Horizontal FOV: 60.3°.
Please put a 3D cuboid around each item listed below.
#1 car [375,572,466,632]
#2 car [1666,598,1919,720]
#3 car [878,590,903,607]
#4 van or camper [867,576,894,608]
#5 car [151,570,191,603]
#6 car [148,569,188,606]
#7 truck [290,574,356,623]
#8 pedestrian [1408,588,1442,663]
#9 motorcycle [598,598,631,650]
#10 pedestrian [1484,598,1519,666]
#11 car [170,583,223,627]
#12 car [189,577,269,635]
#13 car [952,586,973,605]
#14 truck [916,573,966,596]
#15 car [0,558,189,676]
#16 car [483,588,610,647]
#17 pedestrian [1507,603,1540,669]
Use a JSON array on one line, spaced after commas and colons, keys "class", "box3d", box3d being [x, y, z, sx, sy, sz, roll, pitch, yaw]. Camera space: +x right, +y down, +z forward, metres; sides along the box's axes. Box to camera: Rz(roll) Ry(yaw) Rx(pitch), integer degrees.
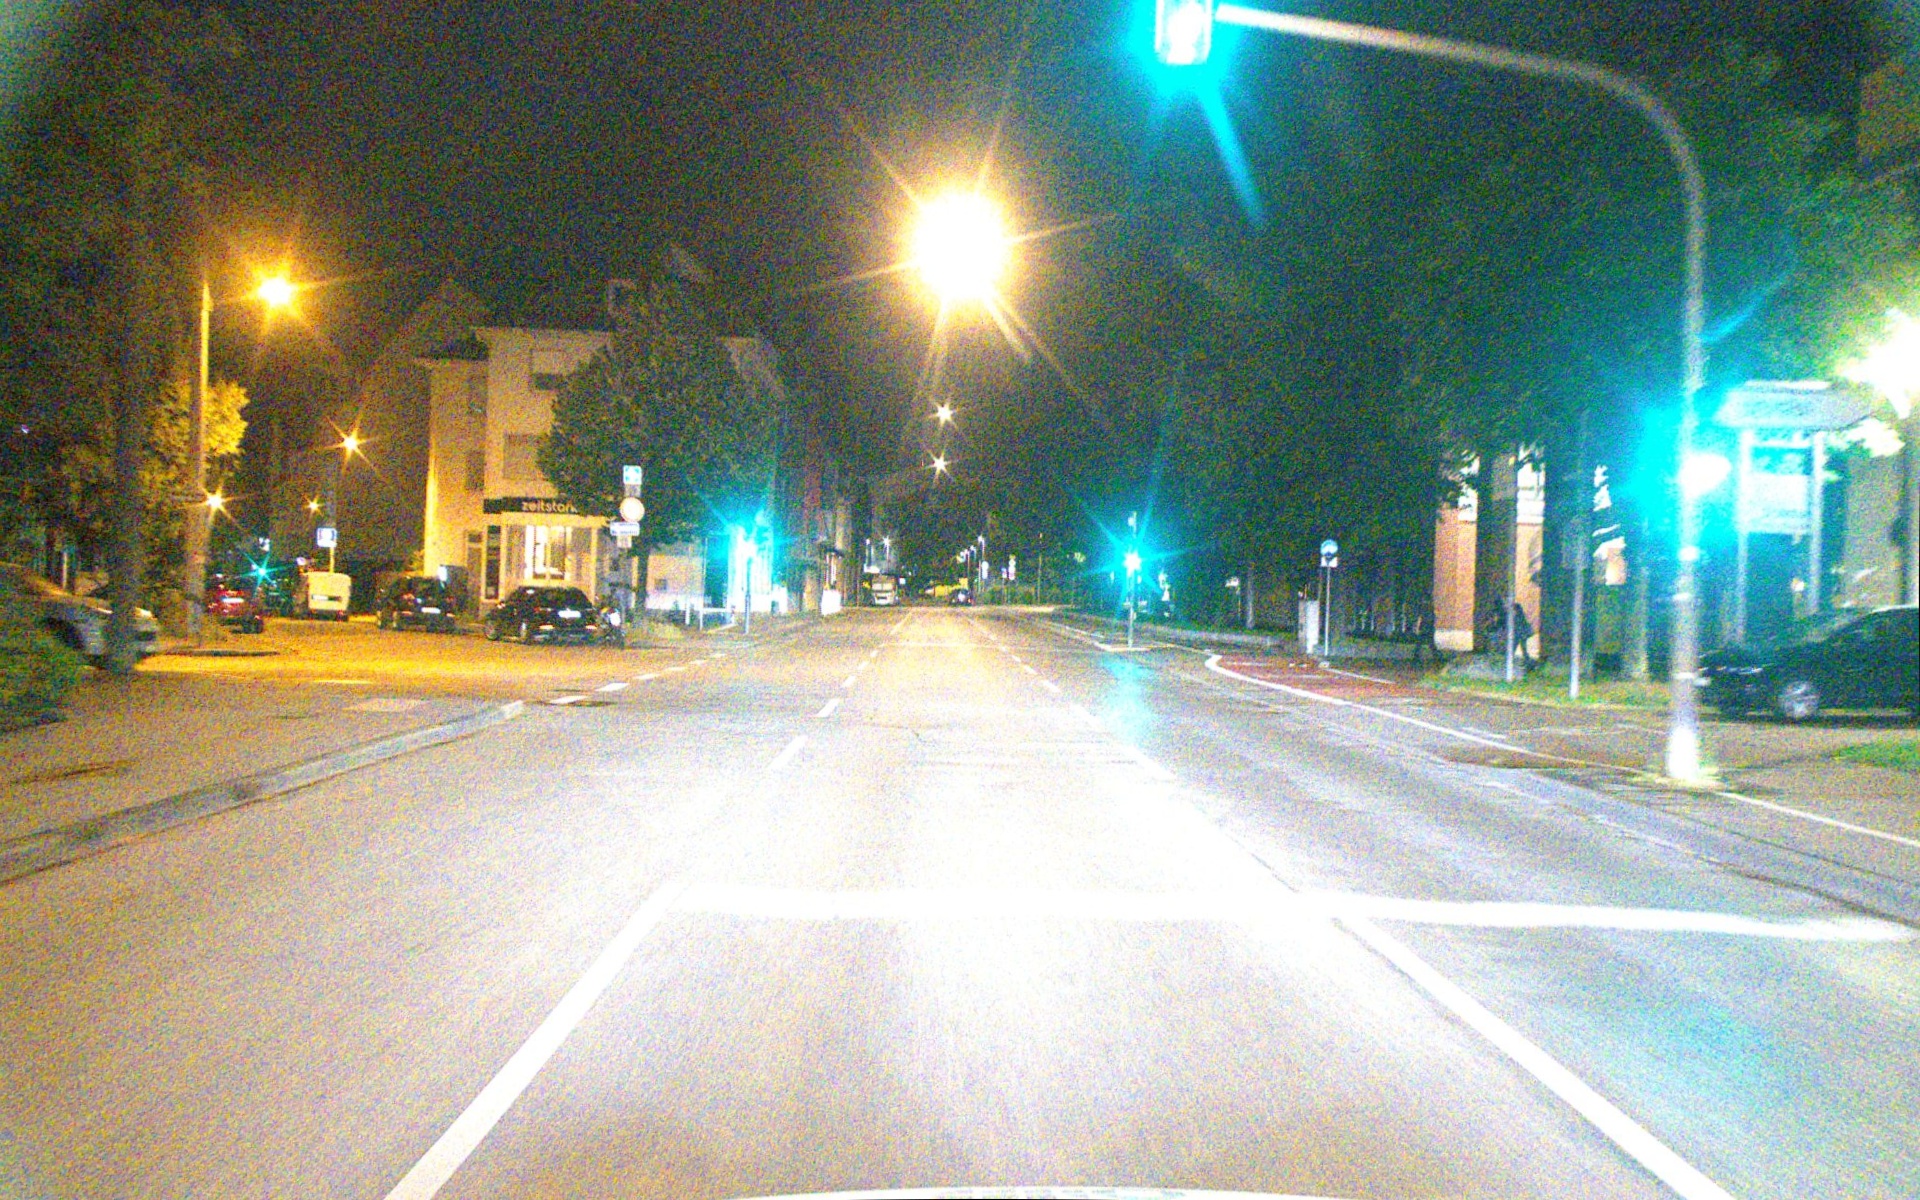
[{"class": "car", "box3d": [-16.843, 0.043, 51.540, 1.893, 1.673, 4.072, 4, -1, -29]}, {"class": "car", "box3d": [11.538, 0.752, 21.443, 3.999, 1.480, 1.786, 1, 0, -2]}, {"class": "car", "box3d": [-6.282, -0.112, 148.832, 1.804, 1.533, 4.734, 0, 0, -8]}, {"class": "van or camper", "box3d": [-6.596, -0.614, 138.022, 2.114, 2.580, 6.224, -1, 0, -2]}, {"class": "car", "box3d": [-44.613, -0.747, 93.587, 1.873, 1.766, 3.969, 1, -1, -24]}, {"class": "car", "box3d": [-41.992, -0.676, 87.615, 1.774, 1.841, 3.964, 1, 0, -27]}, {"class": "truck", "box3d": [-25.146, -0.063, 65.221, 1.869, 1.839, 4.074, 1, -1, -29]}, {"class": "pedestrian", "box3d": [11.653, 0.637, 41.489, 0.609, 1.843, 0.759, 1, 0, -1]}, {"class": "motorcycle", "box3d": [-8.303, 0.557, 39.722, 0.563, 1.200, 2.022, 1, 0, -18]}, {"class": "pedestrian", "box3d": [13.385, 0.780, 40.908, 0.608, 1.667, 0.679, 1, 0, -1]}, {"class": "car", "box3d": [-27.469, 0.146, 59.445, 1.583, 1.515, 3.525, 0, 1, -27]}, {"class": "car", "box3d": [-21.871, 0.162, 49.408, 1.817, 1.641, 4.218, 0, 0, -29]}, {"class": "car", "box3d": [0.249, -0.417, 148.488, 1.845, 1.631, 4.107, 0, 0, 1]}, {"class": "truck", "box3d": [-2.570, -2.073, 226.015, 6.643, 2.894, 1.998, 2, 0, -4]}, {"class": "car", "box3d": [-14.200, 0.232, 24.500, 4.567, 1.657, 2.002, 1, -1, -3]}, {"class": "car", "box3d": [-10.766, 0.412, 42.849, 1.868, 1.449, 4.677, 0, 0, -32]}, {"class": "pedestrian", "box3d": [13.562, 0.870, 39.831, 0.561, 1.560, 0.633, 1, 0, -1]}]
